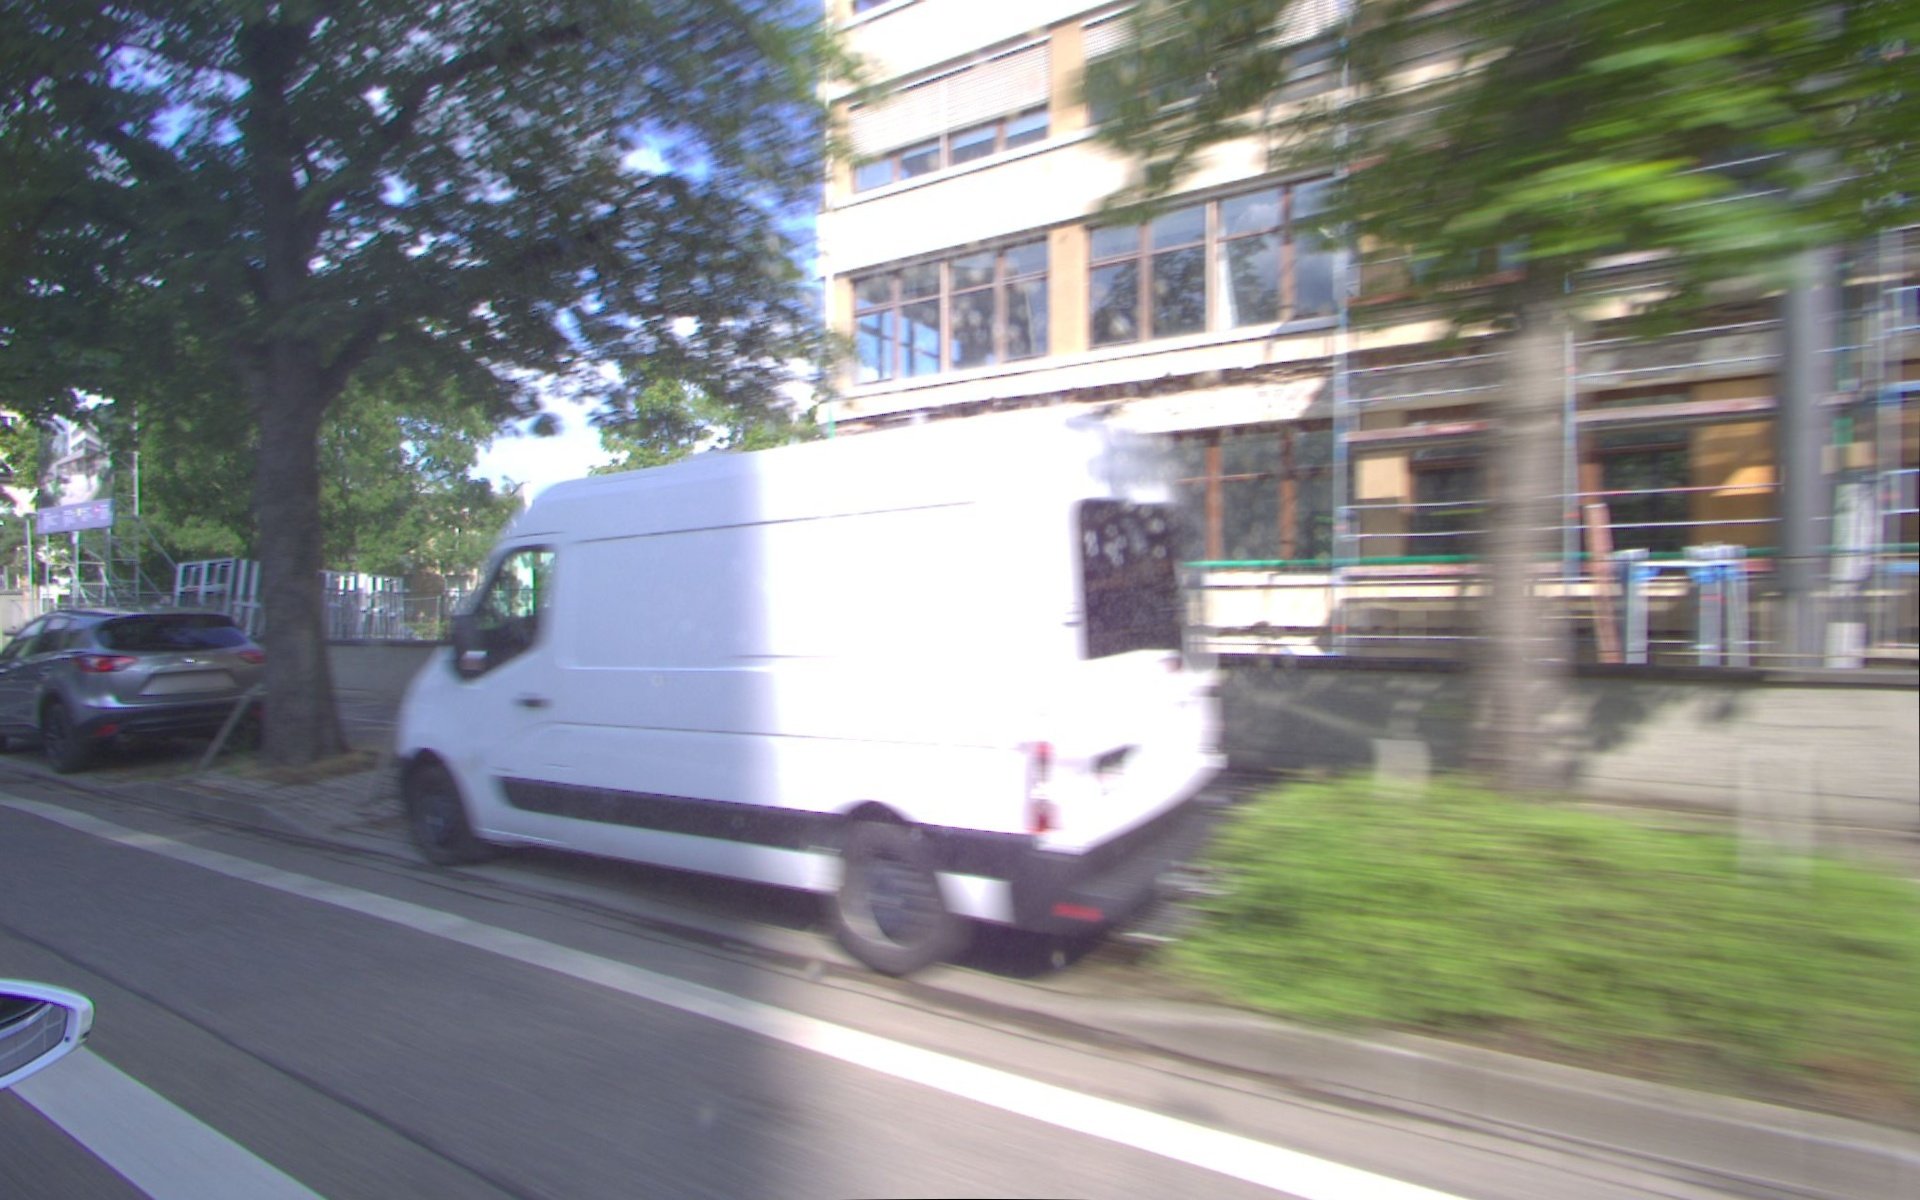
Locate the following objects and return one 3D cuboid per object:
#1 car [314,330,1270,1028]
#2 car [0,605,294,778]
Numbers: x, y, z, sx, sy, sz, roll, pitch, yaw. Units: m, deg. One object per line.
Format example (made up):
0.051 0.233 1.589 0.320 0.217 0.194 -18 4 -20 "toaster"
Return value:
-1.332 0.333 6.187 5.835 2.602 2.117 -1 2 32 "car"
-9.643 0.882 11.429 4.394 1.628 1.761 0 0 32 "car"
